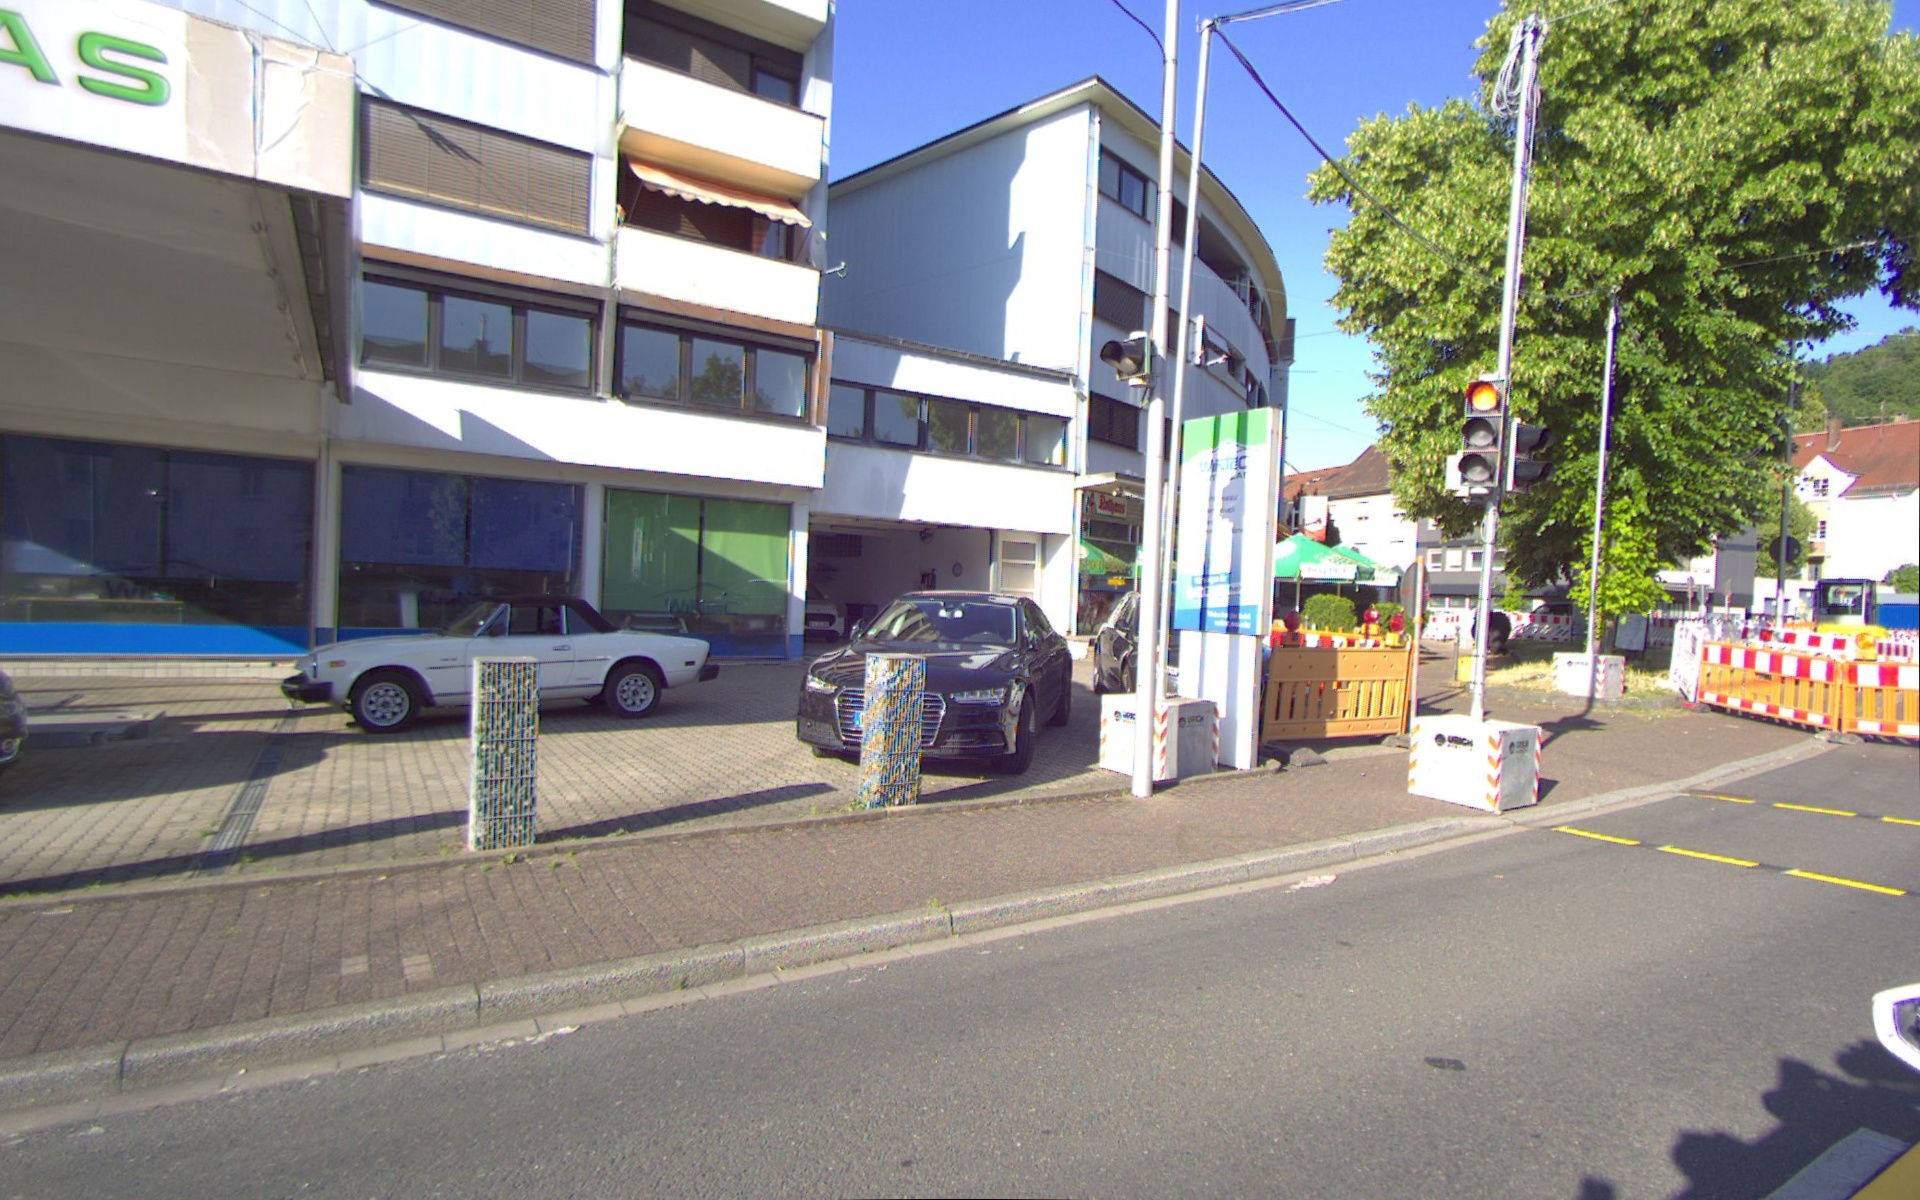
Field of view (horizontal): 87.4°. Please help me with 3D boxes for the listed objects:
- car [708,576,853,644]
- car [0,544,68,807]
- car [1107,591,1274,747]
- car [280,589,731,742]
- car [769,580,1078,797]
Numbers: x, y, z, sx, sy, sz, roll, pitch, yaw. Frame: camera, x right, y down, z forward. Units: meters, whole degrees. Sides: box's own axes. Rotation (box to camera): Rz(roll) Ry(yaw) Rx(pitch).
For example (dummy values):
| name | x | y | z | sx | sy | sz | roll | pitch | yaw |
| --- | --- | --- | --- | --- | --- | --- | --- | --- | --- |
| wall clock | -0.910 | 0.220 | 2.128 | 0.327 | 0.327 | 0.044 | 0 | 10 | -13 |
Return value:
| name | x | y | z | sx | sy | sz | roll | pitch | yaw |
| --- | --- | --- | --- | --- | --- | --- | --- | --- | --- |
| car | -4.394 | 0.197 | 24.208 | 1.980 | 1.486 | 3.961 | 1 | 0 | -34 |
| car | -7.489 | 0.390 | 5.859 | 3.325 | 1.589 | 1.623 | 2 | 1 | 8 |
| car | 2.799 | 0.680 | 12.440 | 1.617 | 1.474 | 4.301 | 3 | 1 | 12 |
| car | -4.647 | 0.576 | 10.529 | 4.097 | 1.301 | 1.576 | 0 | 1 | -35 |
| car | -0.050 | 0.596 | 9.467 | 1.872 | 1.474 | 4.315 | 3 | 1 | 12 |
